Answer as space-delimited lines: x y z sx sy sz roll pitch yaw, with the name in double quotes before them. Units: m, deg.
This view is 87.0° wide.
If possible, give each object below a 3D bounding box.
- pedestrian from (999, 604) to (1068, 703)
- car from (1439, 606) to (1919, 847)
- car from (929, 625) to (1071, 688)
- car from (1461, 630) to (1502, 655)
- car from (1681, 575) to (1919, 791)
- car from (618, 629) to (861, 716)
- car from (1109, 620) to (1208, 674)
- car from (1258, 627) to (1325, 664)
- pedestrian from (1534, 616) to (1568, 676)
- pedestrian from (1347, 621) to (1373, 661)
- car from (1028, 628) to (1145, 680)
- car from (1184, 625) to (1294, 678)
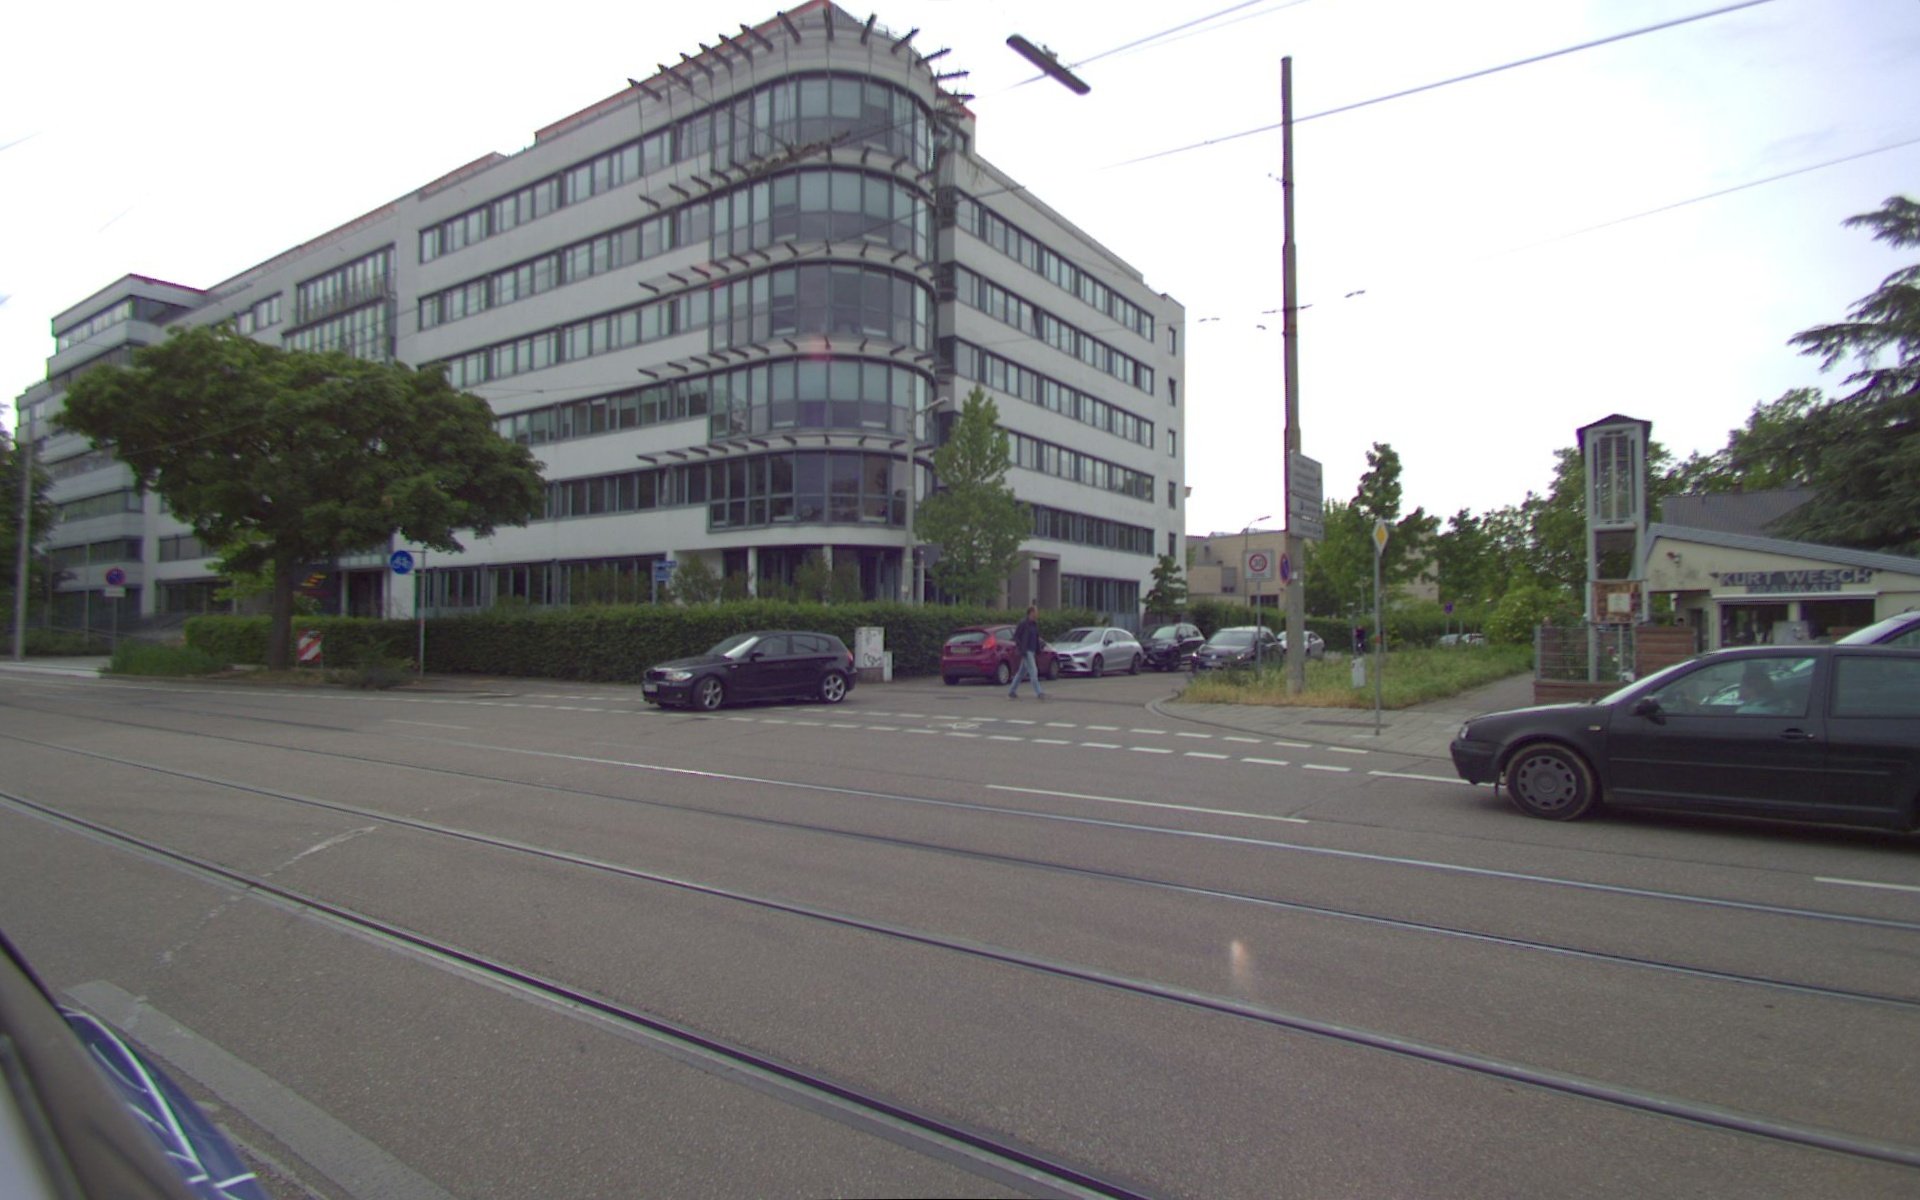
"pedestrian" 1.417 1.004 19.457 1.058 1.839 0.796 -1 -1 39
"car" 6.094 0.877 7.715 4.136 1.542 1.772 -1 -4 39
"car" 1.081 1.358 25.464 1.722 1.432 3.971 -1 -2 35
"car" 44.450 3.571 86.240 2.001 2.029 3.942 -1 -1 44
"car" 10.235 0.765 9.871 5.175 2.029 1.969 -1 0 37
"car" -3.983 1.249 18.671 4.049 1.379 1.790 1 -1 -42
"car" 6.689 1.527 33.835 1.993 1.663 3.956 -1 -2 32
"car" 15.345 2.039 46.694 1.876 1.573 3.952 -1 -1 35
"pedestrian" 18.052 1.385 30.911 0.761 1.787 0.627 -1 -1 41
"pedestrian" 20.362 2.079 51.486 1.181 2.029 1.207 -1 -3 23
"car" 3.701 1.499 29.152 1.774 1.359 4.002 -1 -2 34
"car" 8.379 1.500 30.177 1.814 1.462 3.936 -1 -2 38
